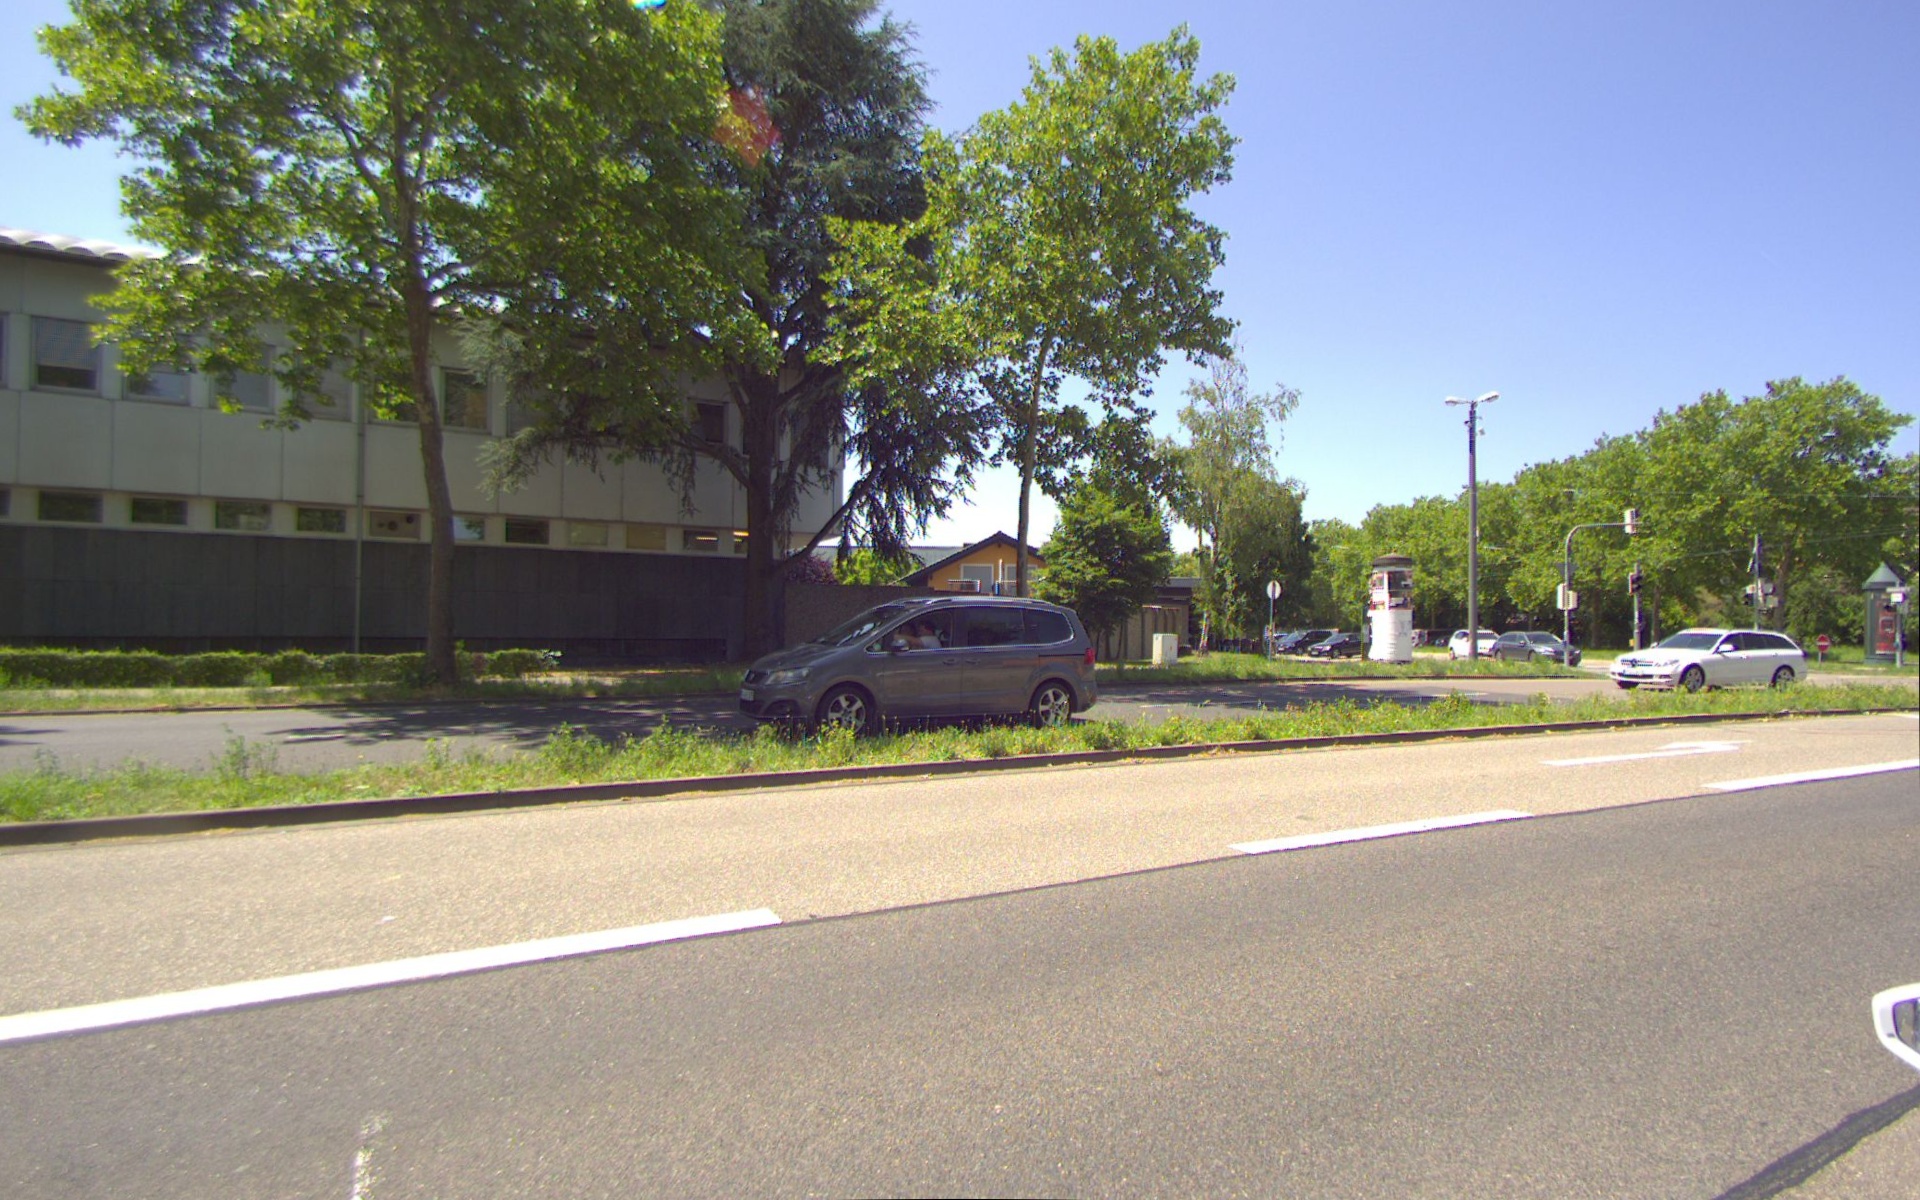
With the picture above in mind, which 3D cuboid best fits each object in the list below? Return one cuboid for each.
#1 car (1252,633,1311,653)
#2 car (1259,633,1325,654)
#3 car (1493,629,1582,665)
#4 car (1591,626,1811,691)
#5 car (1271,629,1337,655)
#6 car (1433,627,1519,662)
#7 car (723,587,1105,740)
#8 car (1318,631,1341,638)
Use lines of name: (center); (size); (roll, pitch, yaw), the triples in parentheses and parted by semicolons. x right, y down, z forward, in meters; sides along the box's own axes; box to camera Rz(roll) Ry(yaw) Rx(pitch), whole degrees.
car: (24.356, 3.250, 76.148); (4.004, 1.442, 1.936); (1, -2, -24)
car: (23.240, 3.032, 70.318); (4.330, 1.430, 1.866); (1, -2, -26)
car: (25.056, 1.998, 43.740); (1.729, 1.476, 3.994); (0, -1, 2)
car: (17.539, 1.359, 23.808); (4.472, 1.437, 1.854); (1, -1, -15)
car: (22.916, 2.786, 66.886); (4.138, 1.672, 1.773); (1, -2, -26)
car: (25.802, 2.201, 50.413); (2.172, 1.626, 4.463); (0, -1, 2)
car: (-0.541, 0.756, 12.998); (4.565, 1.678, 1.941); (1, -1, -29)
car: (49.800, 4.641, 135.308); (2.667, 1.007, 1.009); (1, -1, -1)
